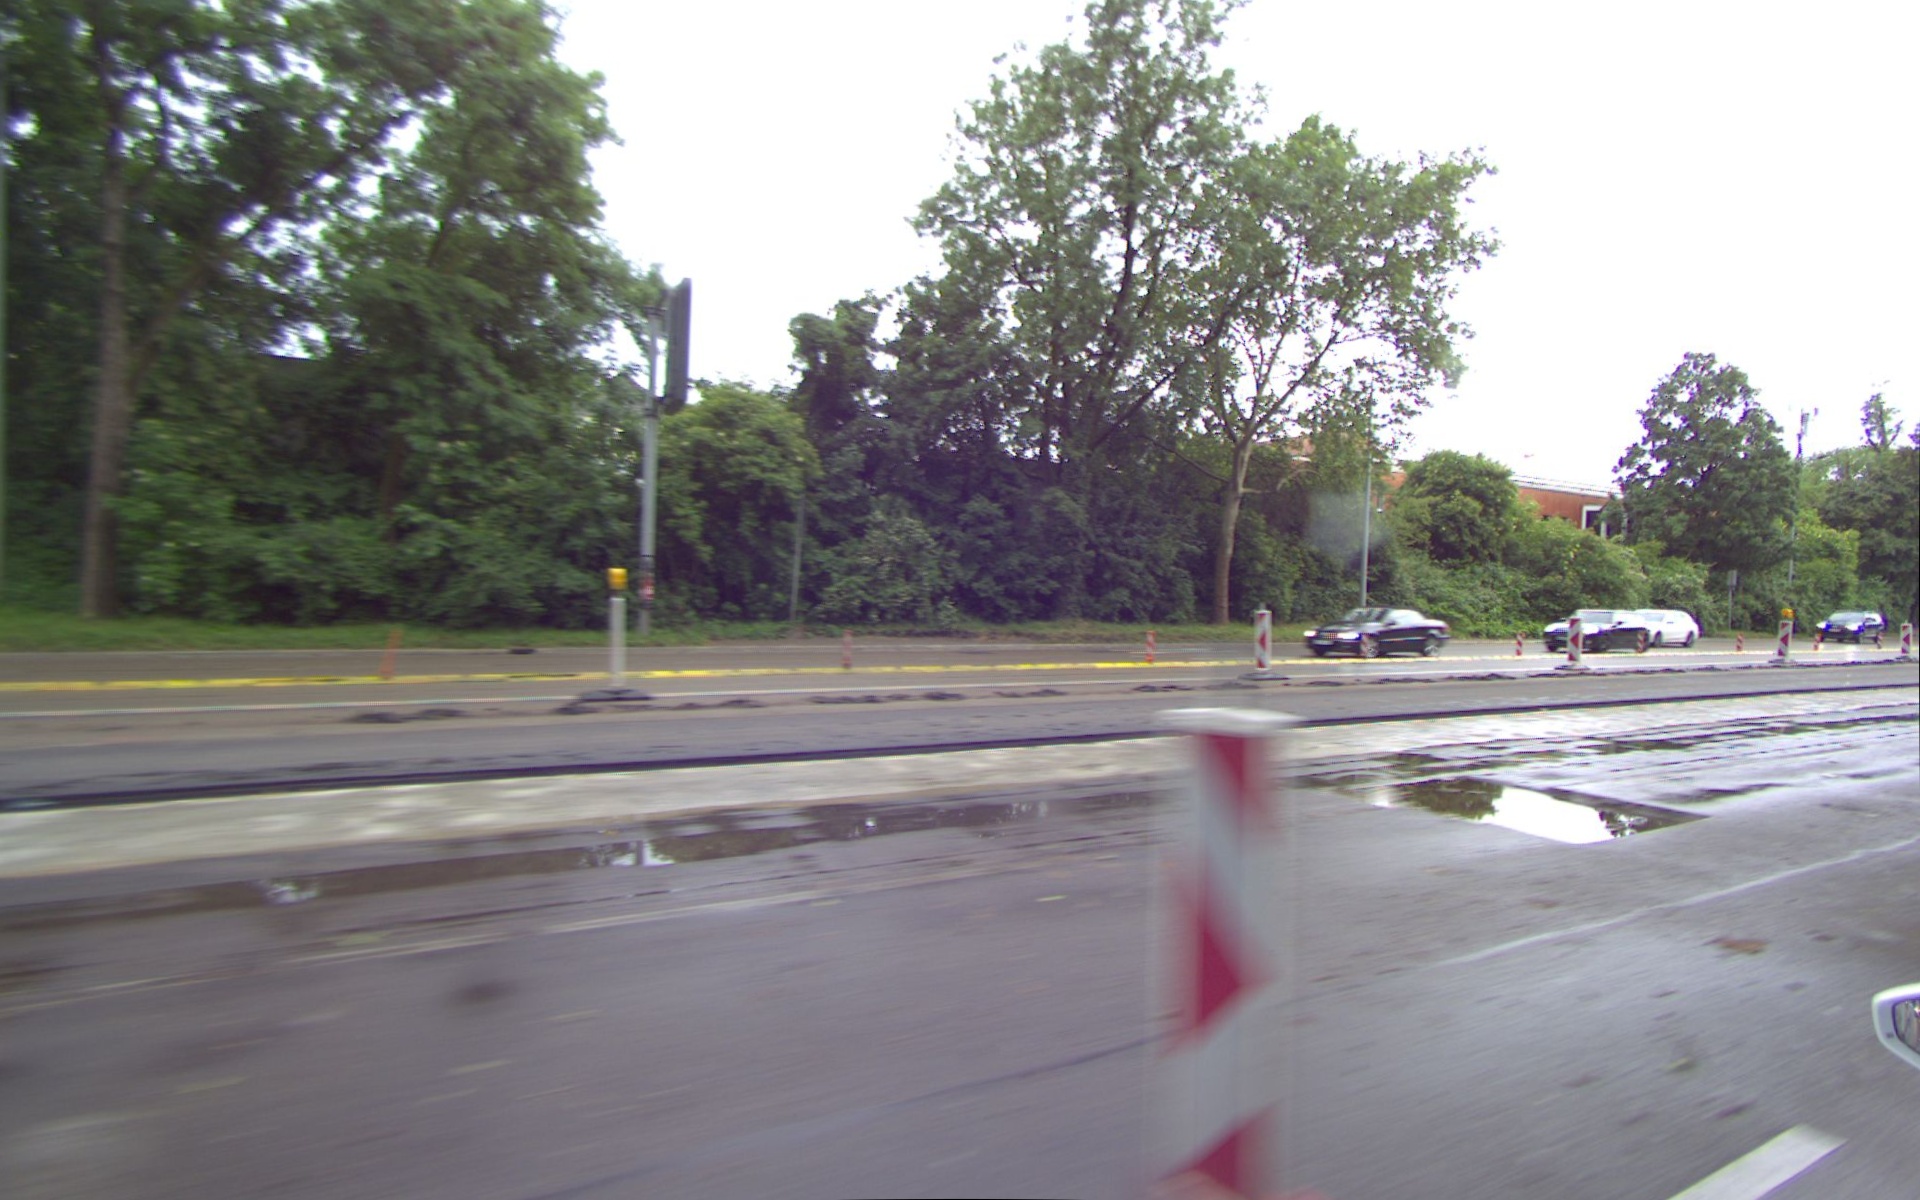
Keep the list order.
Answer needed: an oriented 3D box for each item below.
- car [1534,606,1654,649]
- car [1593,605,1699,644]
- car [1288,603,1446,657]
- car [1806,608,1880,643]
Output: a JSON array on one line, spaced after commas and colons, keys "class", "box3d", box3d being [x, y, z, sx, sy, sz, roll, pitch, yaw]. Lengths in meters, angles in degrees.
[{"class": "car", "box3d": [21.447, 0.908, 33.960, 4.157, 1.373, 1.808, 1, -1, -32]}, {"class": "car", "box3d": [27.762, 0.978, 40.605, 4.551, 1.439, 1.808, 1, 2, -32]}, {"class": "car", "box3d": [11.144, 0.792, 27.423, 4.340, 1.373, 1.808, 1, -1, -32]}, {"class": "car", "box3d": [46.408, 1.317, 52.762, 4.482, 1.708, 1.644, 1, 2, -32]}]
